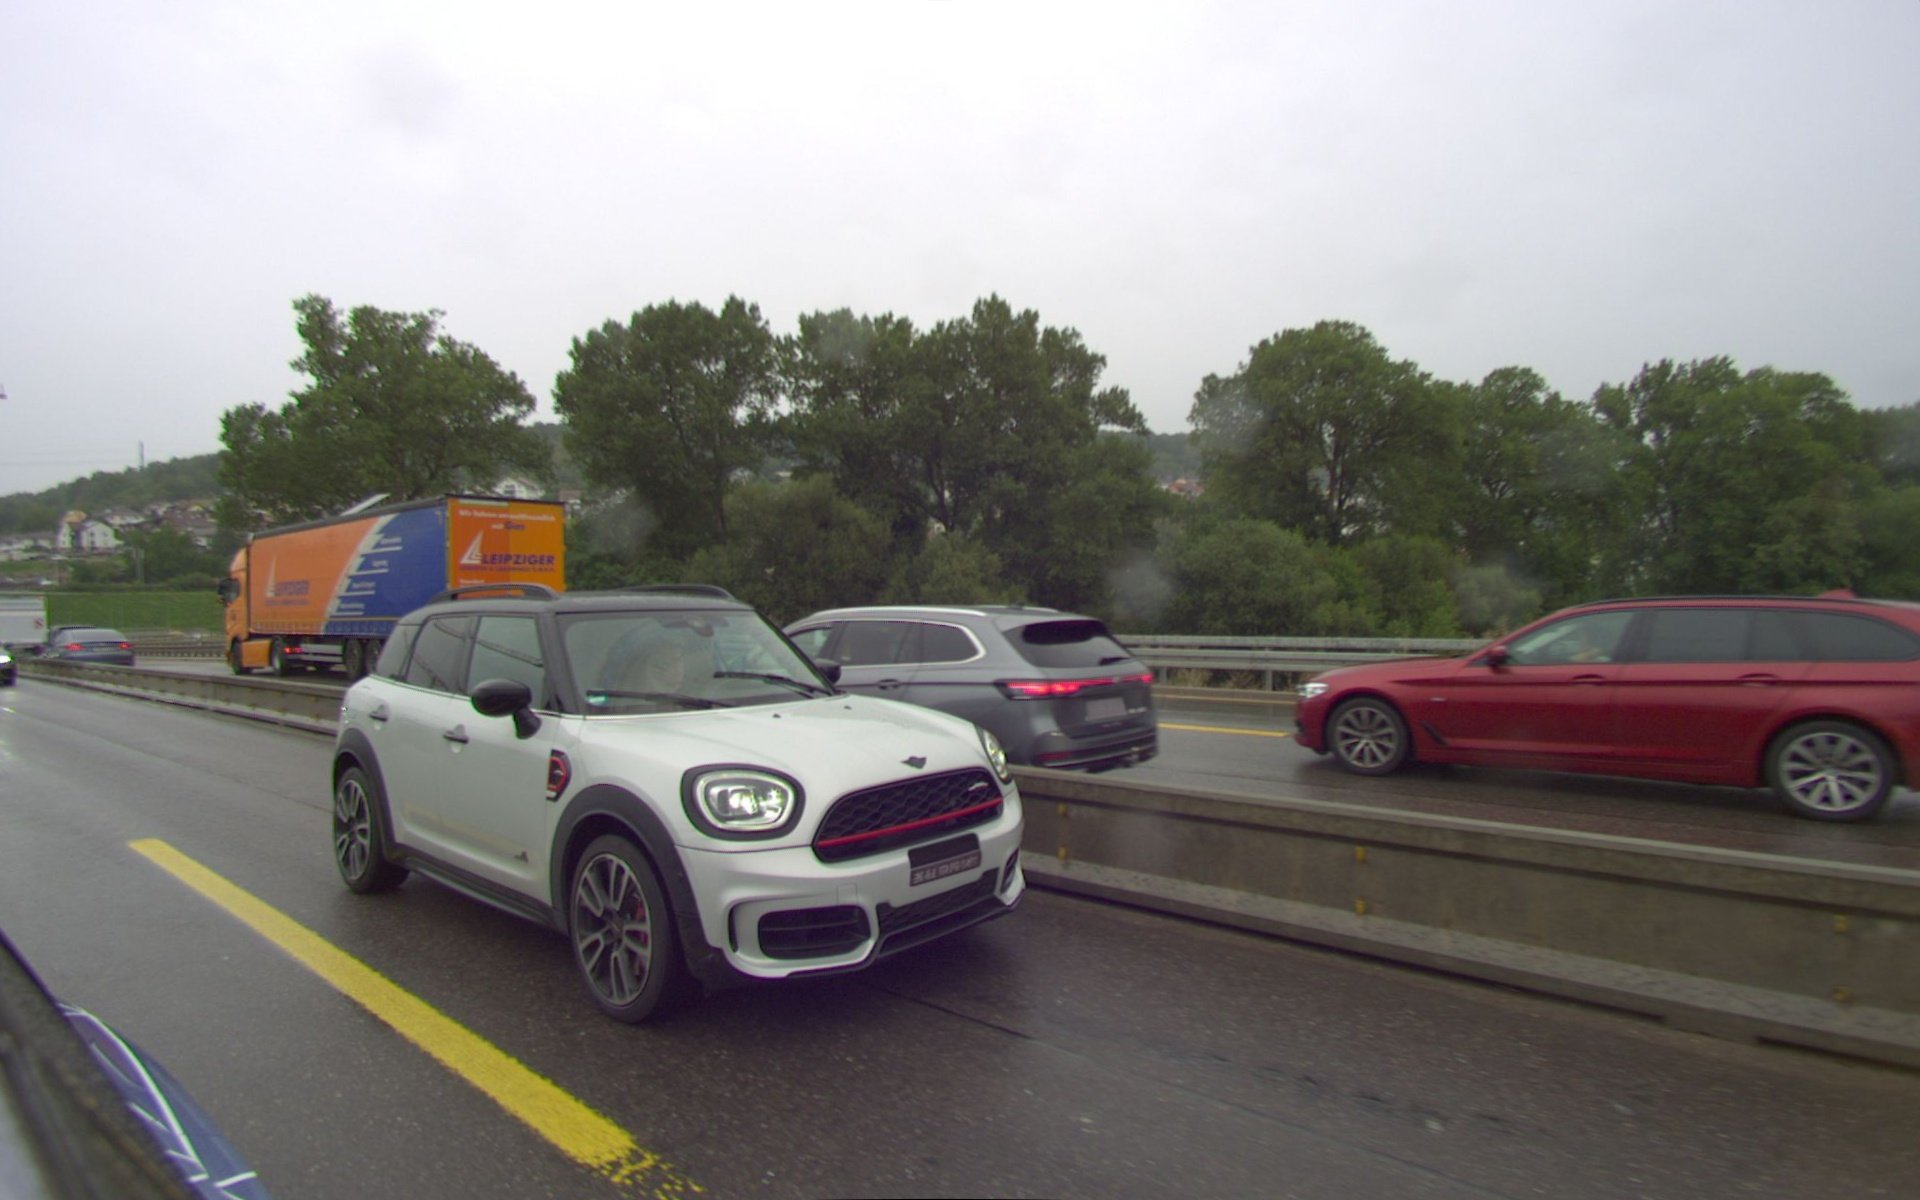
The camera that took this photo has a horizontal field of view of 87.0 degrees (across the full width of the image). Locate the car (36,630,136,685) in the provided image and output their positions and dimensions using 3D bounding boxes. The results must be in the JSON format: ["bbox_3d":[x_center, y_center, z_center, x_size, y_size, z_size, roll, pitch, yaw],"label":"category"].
[{"bbox_3d":[-27.440,1.745,31.736,4.125,1.521,1.812,-1,0,41],"label":"car"}]

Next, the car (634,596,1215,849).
[{"bbox_3d":[-0.516,0.764,8.401,4.742,1.521,1.953,-1,0,40],"label":"car"}]

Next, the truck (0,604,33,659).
[{"bbox_3d":[-66.577,2.133,70.271,6.536,3.653,2.574,-1,0,41],"label":"truck"}]

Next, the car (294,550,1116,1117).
[{"bbox_3d":[-1.561,0.702,4.991,4.306,1.612,1.797,-2,-1,41],"label":"car"}]

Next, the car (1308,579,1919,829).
[{"bbox_3d":[5.192,0.642,7.920,4.304,1.521,1.799,-1,0,41],"label":"car"}]

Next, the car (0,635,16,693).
[{"bbox_3d":[-26.674,1.698,26.860,4.481,1.449,1.926,-1,0,41],"label":"car"}]

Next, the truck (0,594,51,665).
[{"bbox_3d":[-43.613,1.310,46.177,6.536,3.016,2.382,-1,0,41],"label":"truck"}]

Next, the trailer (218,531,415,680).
[{"bbox_3d":[-19.163,0.213,30.009,6.348,3.948,3.236,-2,-1,41],"label":"trailer"}]

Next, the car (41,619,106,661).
[{"bbox_3d":[-44.498,1.984,50.784,3.998,2.029,1.882,-1,-3,41],"label":"car"}]

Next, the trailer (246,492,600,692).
[{"bbox_3d":[-14.188,0.020,25.631,13.691,3.938,3.243,-2,-1,41],"label":"trailer"}]
